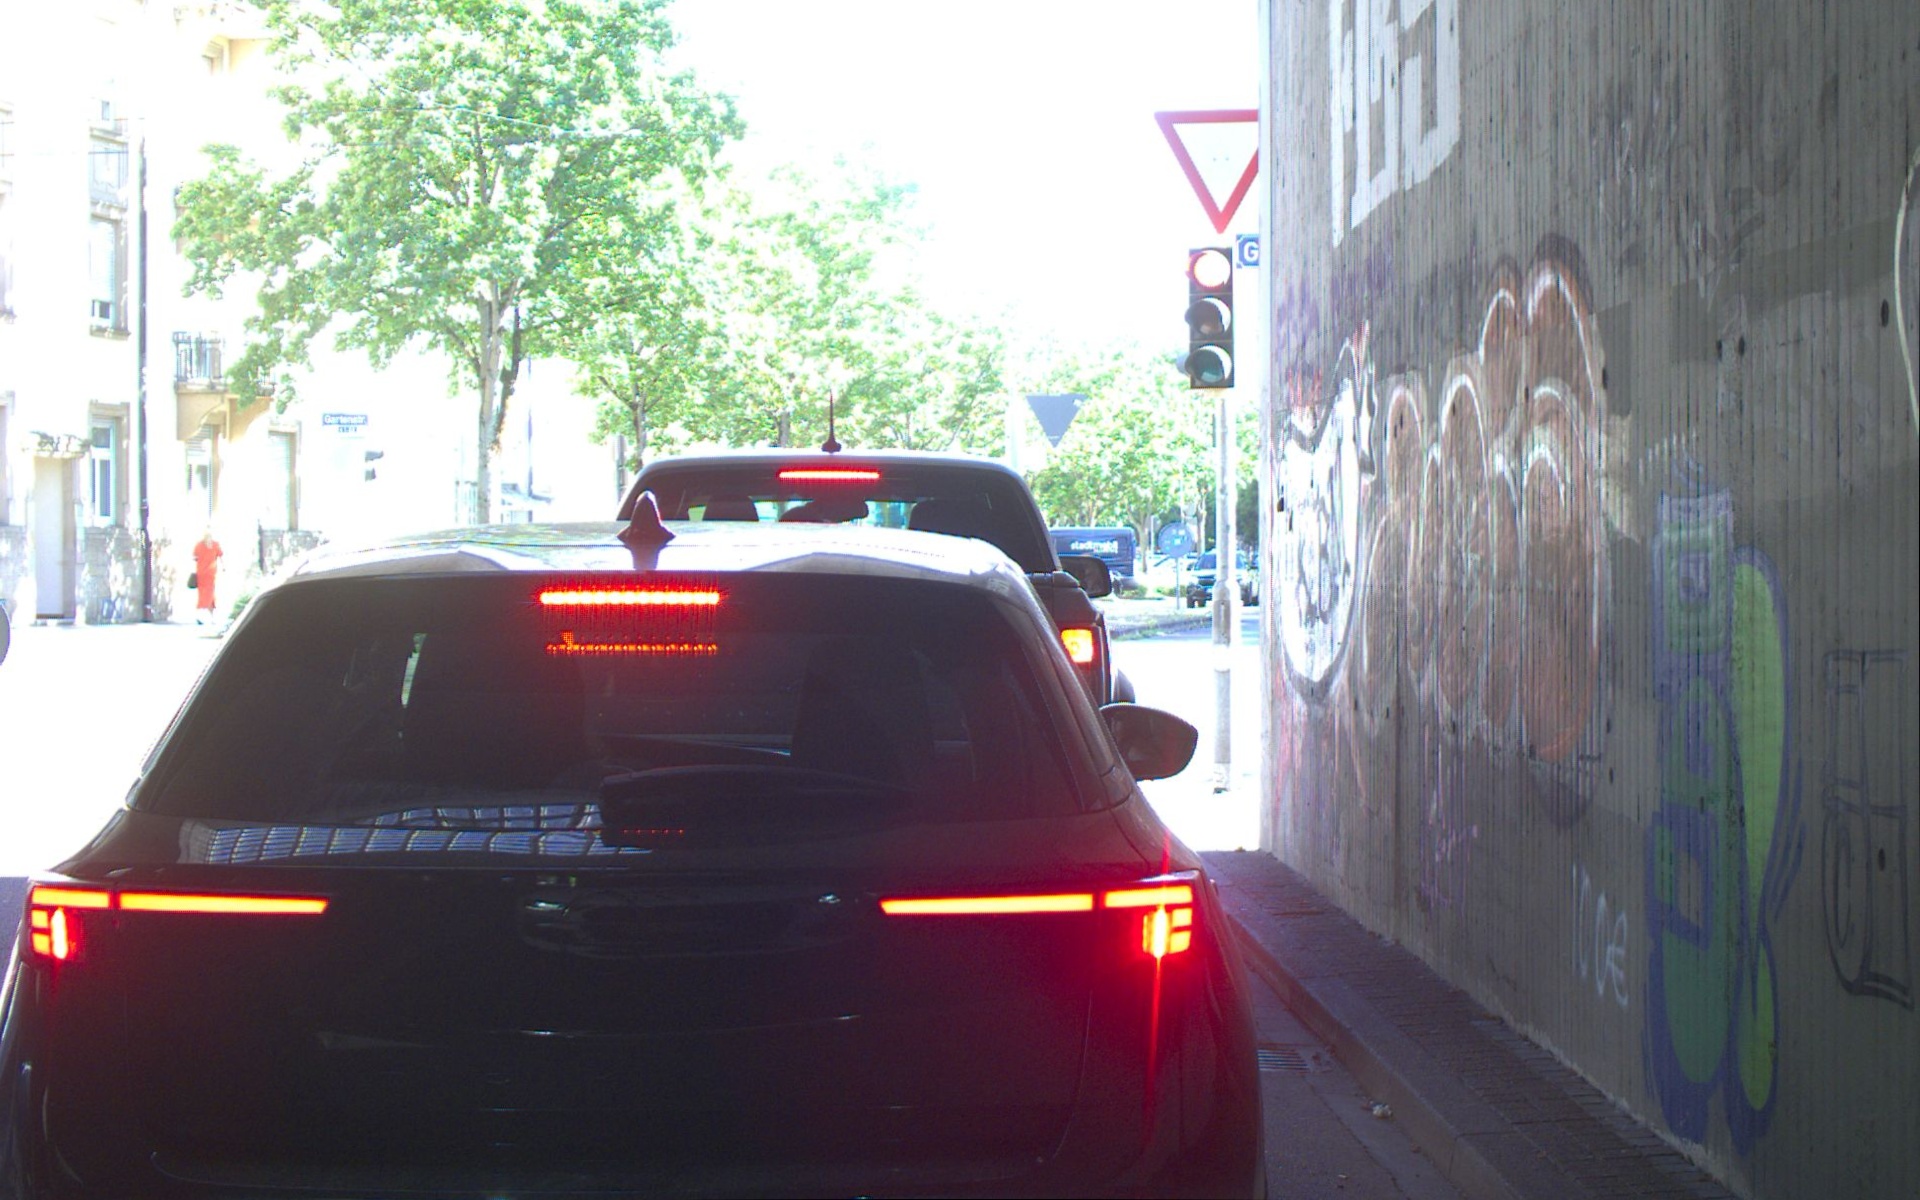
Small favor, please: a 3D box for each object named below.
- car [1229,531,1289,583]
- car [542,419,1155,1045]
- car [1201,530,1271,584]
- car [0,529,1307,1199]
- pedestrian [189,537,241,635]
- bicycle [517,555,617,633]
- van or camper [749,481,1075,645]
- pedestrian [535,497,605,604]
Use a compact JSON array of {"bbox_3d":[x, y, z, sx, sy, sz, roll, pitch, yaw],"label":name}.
[{"bbox_3d":[9.595,-1.396,110.107,1.584,1.634,3.804,0,1,10],"label":"car"},{"bbox_3d":[-0.346,0.352,12.098,1.786,1.827,3.961,1,1,0],"label":"car"},{"bbox_3d":[7.521,-1.180,93.408,1.599,1.447,3.794,0,1,9],"label":"car"},{"bbox_3d":[-0.477,0.634,6.163,1.753,1.493,4.000,1,1,0],"label":"car"},{"bbox_3d":[-13.119,-0.249,60.570,0.623,1.699,0.723,1,0,14],"label":"pedestrian"},{"bbox_3d":[-5.861,-0.106,51.344,0.737,1.126,2.025,0,1,17],"label":"bicycle"},{"bbox_3d":[-0.570,-0.475,43.561,3.878,2.007,2.000,0,1,7],"label":"van or camper"},{"bbox_3d":[-5.836,-0.739,51.419,0.736,1.579,0.889,1,0,15],"label":"pedestrian"}]
